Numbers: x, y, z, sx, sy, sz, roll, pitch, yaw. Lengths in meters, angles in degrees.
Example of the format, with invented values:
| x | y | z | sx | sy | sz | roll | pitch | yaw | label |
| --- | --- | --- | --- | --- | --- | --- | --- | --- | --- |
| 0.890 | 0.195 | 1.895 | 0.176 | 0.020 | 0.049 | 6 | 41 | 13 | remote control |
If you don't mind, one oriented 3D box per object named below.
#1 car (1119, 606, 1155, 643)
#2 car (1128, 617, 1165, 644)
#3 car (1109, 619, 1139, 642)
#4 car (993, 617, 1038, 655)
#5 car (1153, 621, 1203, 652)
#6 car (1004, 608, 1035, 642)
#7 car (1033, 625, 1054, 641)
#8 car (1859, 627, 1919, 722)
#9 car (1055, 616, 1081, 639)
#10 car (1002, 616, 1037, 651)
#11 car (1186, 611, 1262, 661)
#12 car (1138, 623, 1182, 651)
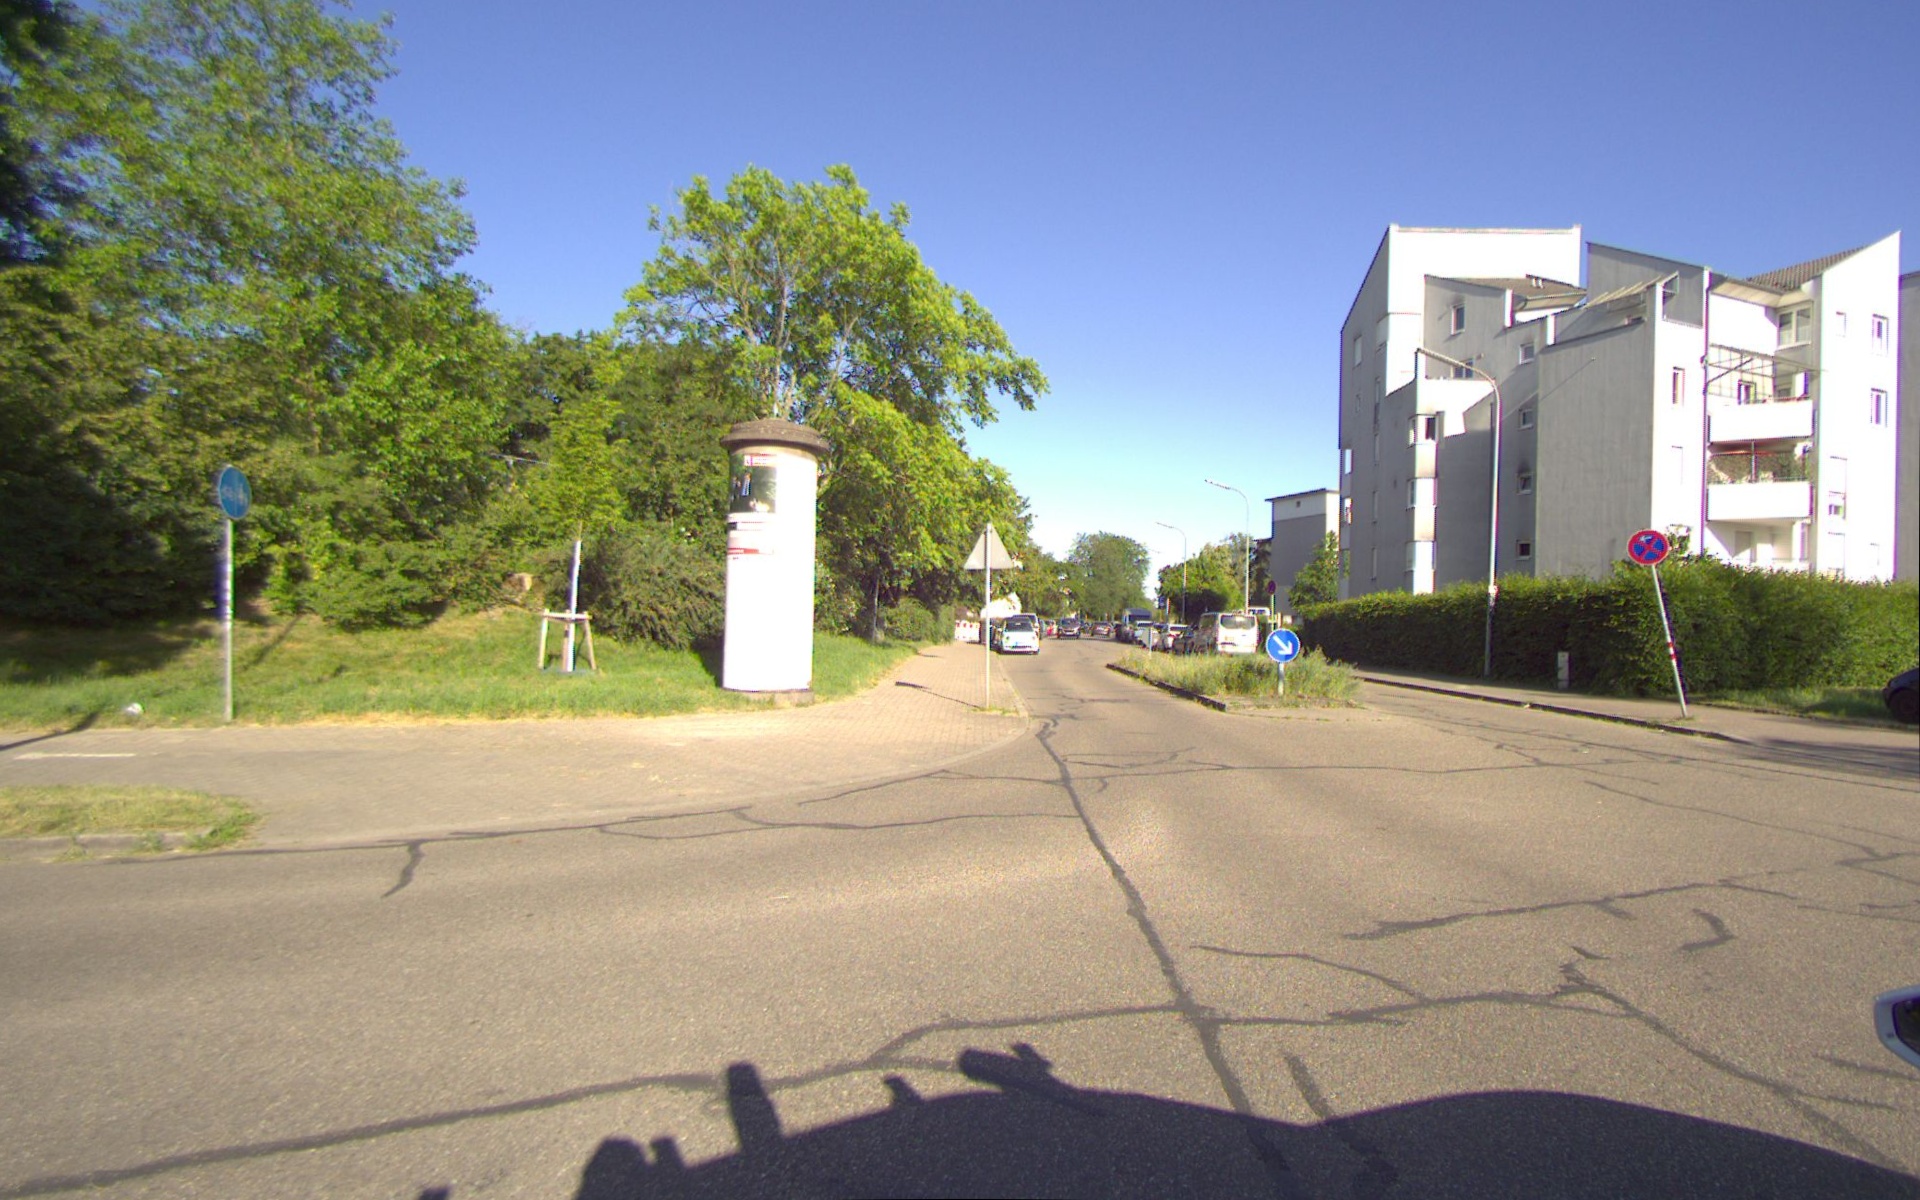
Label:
| x | y | z | sx | sy | sz | roll | pitch | yaw | label |
| --- | --- | --- | --- | --- | --- | --- | --- | --- | --- |
| 12.829 | 1.775 | 73.262 | 2.069 | 2.519 | 5.859 | 3 | -1 | 6 | car |
| 12.489 | 2.012 | 67.496 | 1.877 | 1.688 | 4.377 | 1 | -1 | 3 | car |
| 13.043 | 2.428 | 80.032 | 1.877 | 1.688 | 4.377 | 1 | -1 | 3 | car |
| 2.425 | 1.563 | 44.532 | 1.600 | 1.548 | 3.418 | 1 | -1 | -3 | car |
| 11.354 | 1.882 | 52.580 | 1.877 | 1.508 | 4.377 | 1 | -1 | 3 | car |
| 3.704 | 1.520 | 62.570 | 1.832 | 1.987 | 4.673 | 1 | -1 | 4 | car |
| 7.795 | 3.044 | 93.445 | 1.642 | 1.493 | 3.681 | 0 | -1 | 9 | car |
| 16.124 | 1.199 | 15.222 | 1.671 | 1.486 | 3.531 | 1 | 0 | -5 | car |
| 8.484 | 2.131 | 79.181 | 1.880 | 1.728 | 4.187 | 0 | -1 | 4 | car |
| 2.936 | 1.621 | 49.811 | 1.646 | 1.660 | 4.252 | 0 | -1 | 3 | car |
| 10.989 | 1.479 | 42.222 | 1.960 | 1.937 | 4.955 | 1 | -1 | 1 | car |
| 11.560 | 2.121 | 58.333 | 1.877 | 1.508 | 4.377 | 1 | -1 | 3 | car |
